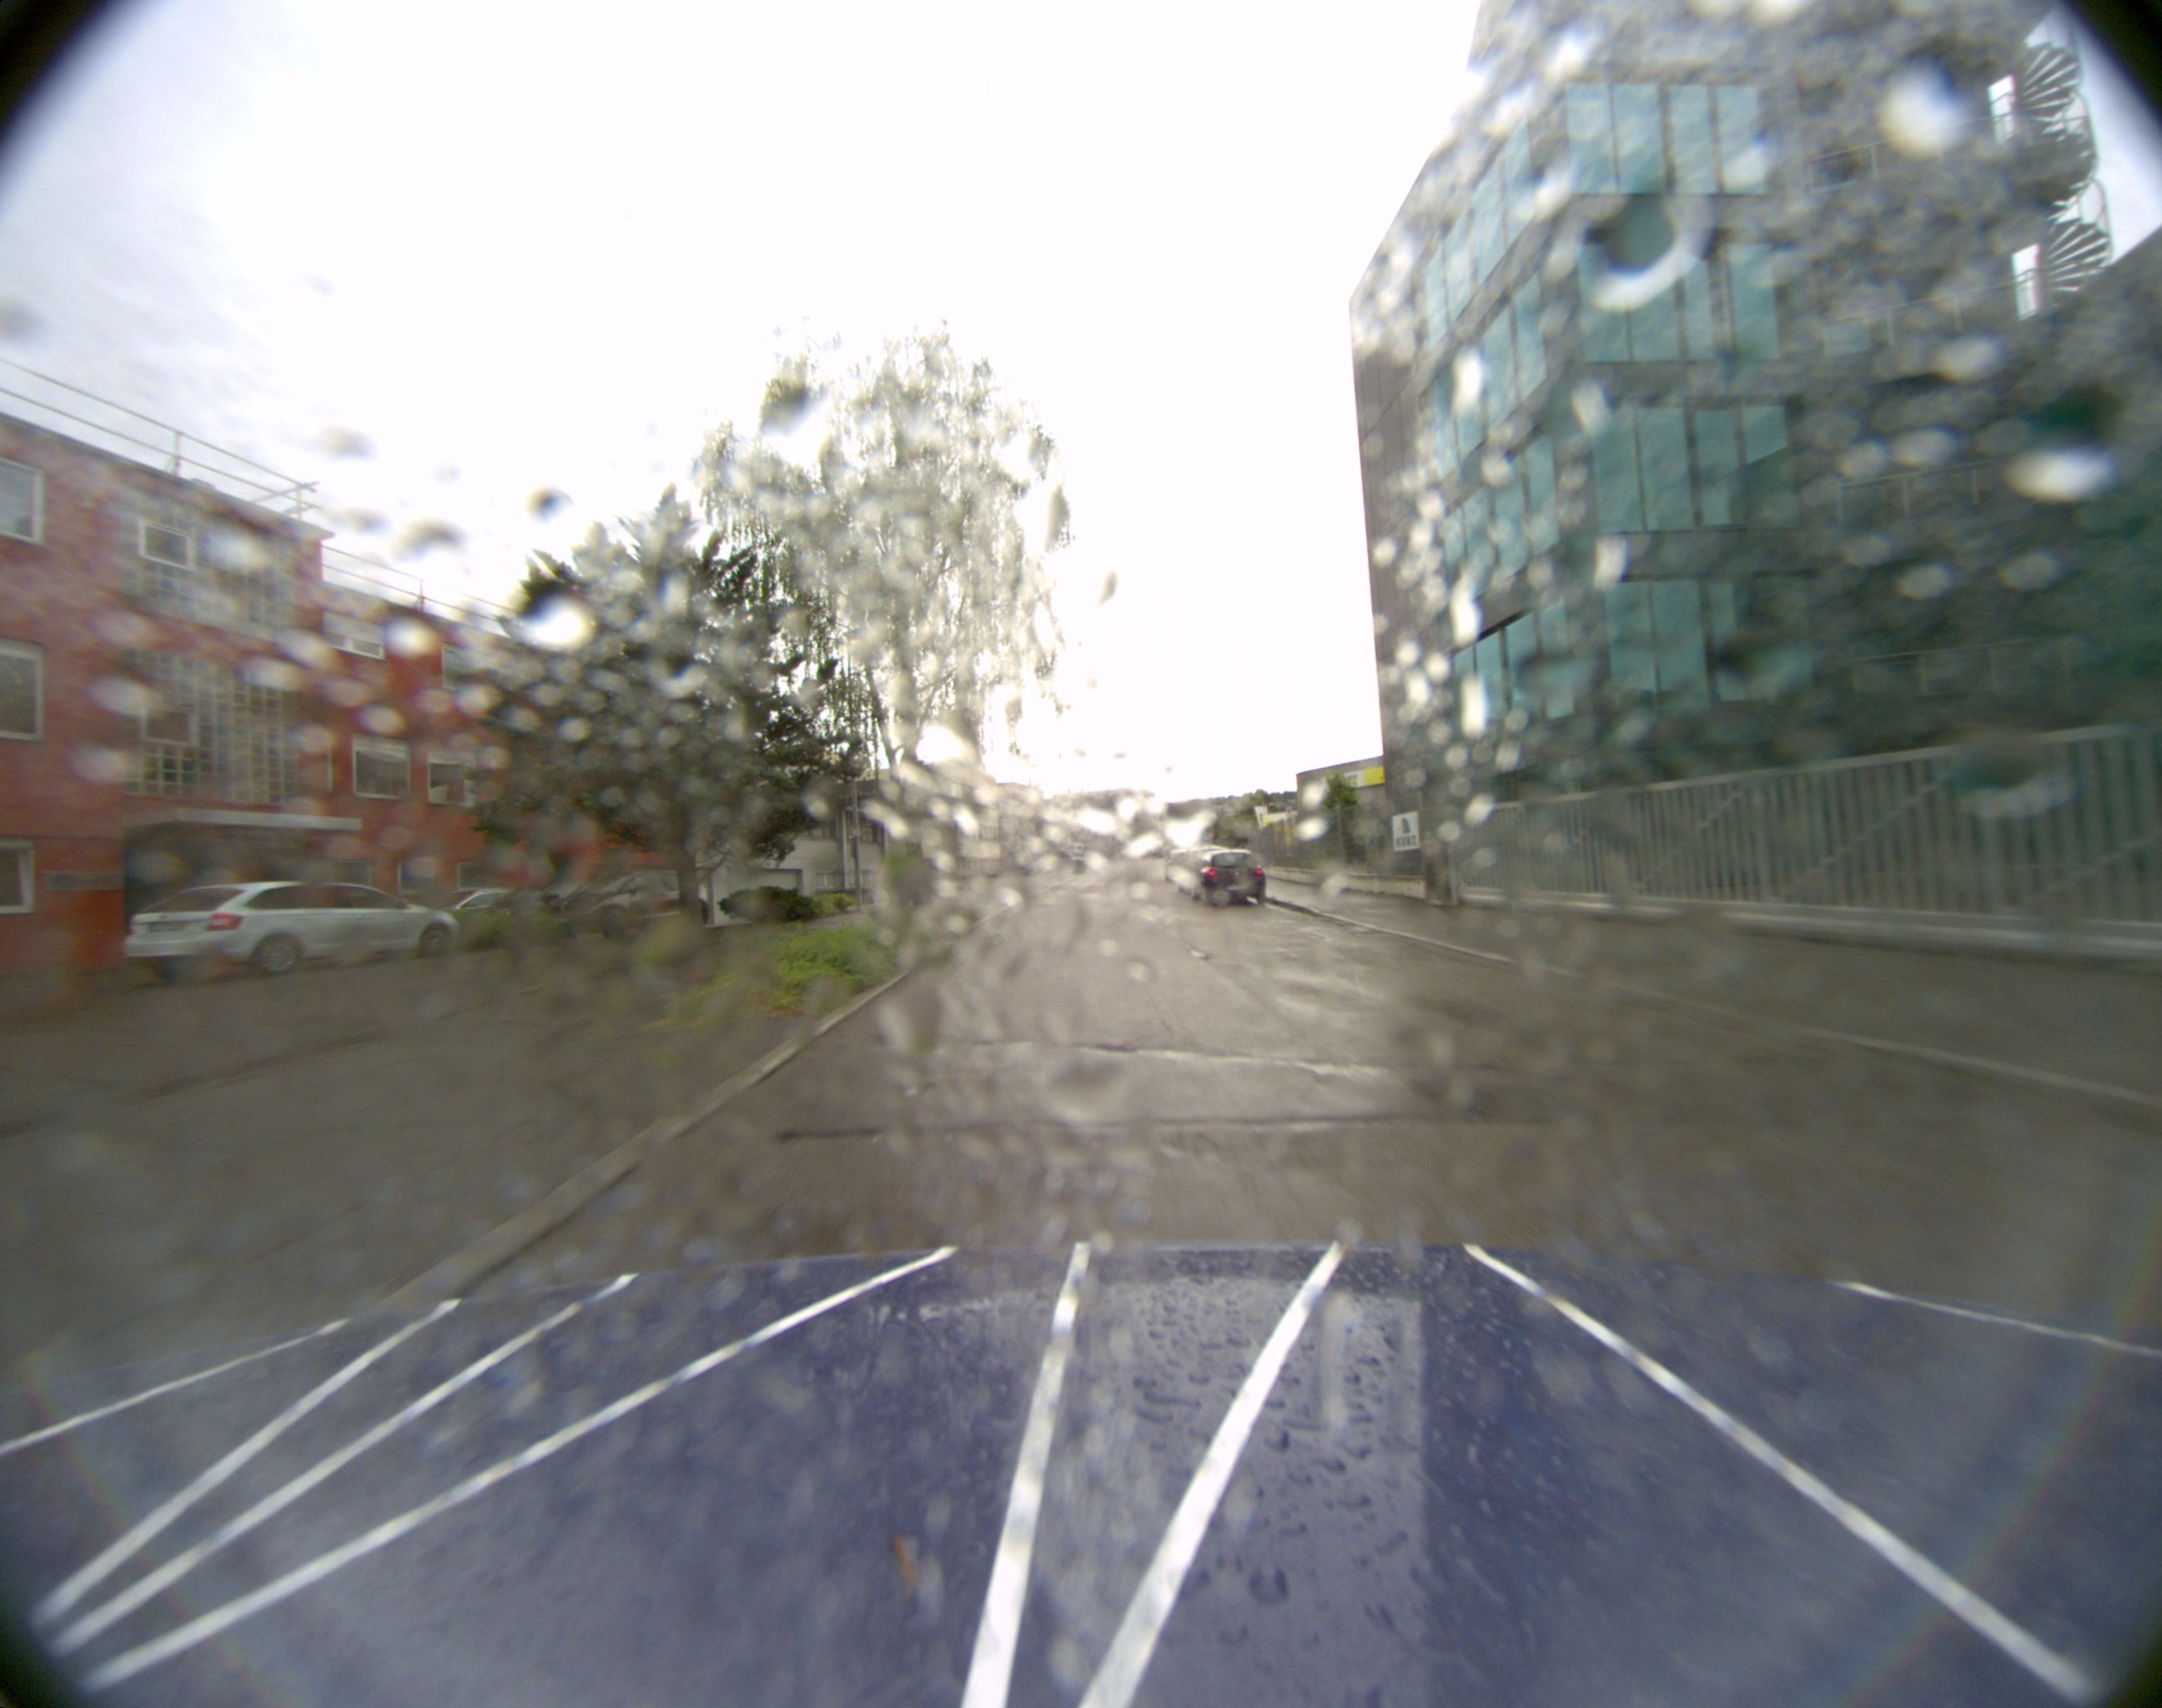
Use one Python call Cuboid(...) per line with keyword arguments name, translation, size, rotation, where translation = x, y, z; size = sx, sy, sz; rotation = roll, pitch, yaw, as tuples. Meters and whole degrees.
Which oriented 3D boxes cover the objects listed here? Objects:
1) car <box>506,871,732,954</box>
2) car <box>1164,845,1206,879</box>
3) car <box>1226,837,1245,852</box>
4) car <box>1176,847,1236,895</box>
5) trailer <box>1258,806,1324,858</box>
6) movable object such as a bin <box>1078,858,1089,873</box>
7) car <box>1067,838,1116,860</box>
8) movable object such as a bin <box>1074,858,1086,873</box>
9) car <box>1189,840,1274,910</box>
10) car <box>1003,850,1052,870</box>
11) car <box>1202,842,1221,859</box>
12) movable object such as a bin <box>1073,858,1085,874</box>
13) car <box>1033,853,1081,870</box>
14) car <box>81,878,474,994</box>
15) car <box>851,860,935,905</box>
Cuboid(name="car", translation=(-11.226, 1.343, 18.917), size=(1.998, 1.570, 4.517), rotation=(-4, 0, 17))
Cuboid(name="car", translation=(5.225, 0.387, 38.507), size=(1.739, 1.527, 4.251), rotation=(-3, 0, 4))
Cuboid(name="car", translation=(21.453, -1.303, 105.372), size=(1.996, 2.002, 4.005), rotation=(-2, 0, 20))
Cuboid(name="car", translation=(4.378, 0.555, 27.183), size=(1.636, 1.549, 4.084), rotation=(-2, 0, 3))
Cuboid(name="trailer", translation=(17.387, -1.771, 63.143), size=(2.393, 4.065, 4.688), rotation=(-3, 1, -37))
Cuboid(name="movable object such as a bin", translation=(0.212, 0.854, 58.057), size=(0.735, 1.084, 0.594), rotation=(-2, 1, 8))
Cuboid(name="car", translation=(1.252, -0.574, 89.165), size=(5.146, 2.280, 2.204), rotation=(-3, 0, 16))
Cuboid(name="movable object such as a bin", translation=(-0.064, 0.877, 56.253), size=(0.735, 1.084, 0.594), rotation=(-2, 1, 8))
Cuboid(name="car", translation=(4.253, 0.550, 22.089), size=(1.743, 1.787, 3.959), rotation=(-3, 0, 2))
Cuboid(name="car", translation=(-4.490, 0.504, 63.540), size=(3.745, 1.531, 1.632), rotation=(-2, 1, 12))
Cuboid(name="car", translation=(14.687, -0.398, 85.605), size=(1.997, 1.902, 4.002), rotation=(-2, 0, 8))
Cuboid(name="movable object such as a bin", translation=(-0.170, 0.873, 55.644), size=(0.735, 1.084, 0.594), rotation=(-2, 1, 8))
Cuboid(name="car", translation=(-2.503, 0.769, 79.587), size=(4.618, 1.488, 1.943), rotation=(-3, 0, 14))
Cuboid(name="car", translation=(-13.038, 1.226, 12.848), size=(1.908, 1.462, 4.330), rotation=(-2, 0, 3))
Cuboid(name="car", translation=(-9.130, 1.392, 36.940), size=(3.441, 1.490, 1.620), rotation=(-12, -2, 18))
